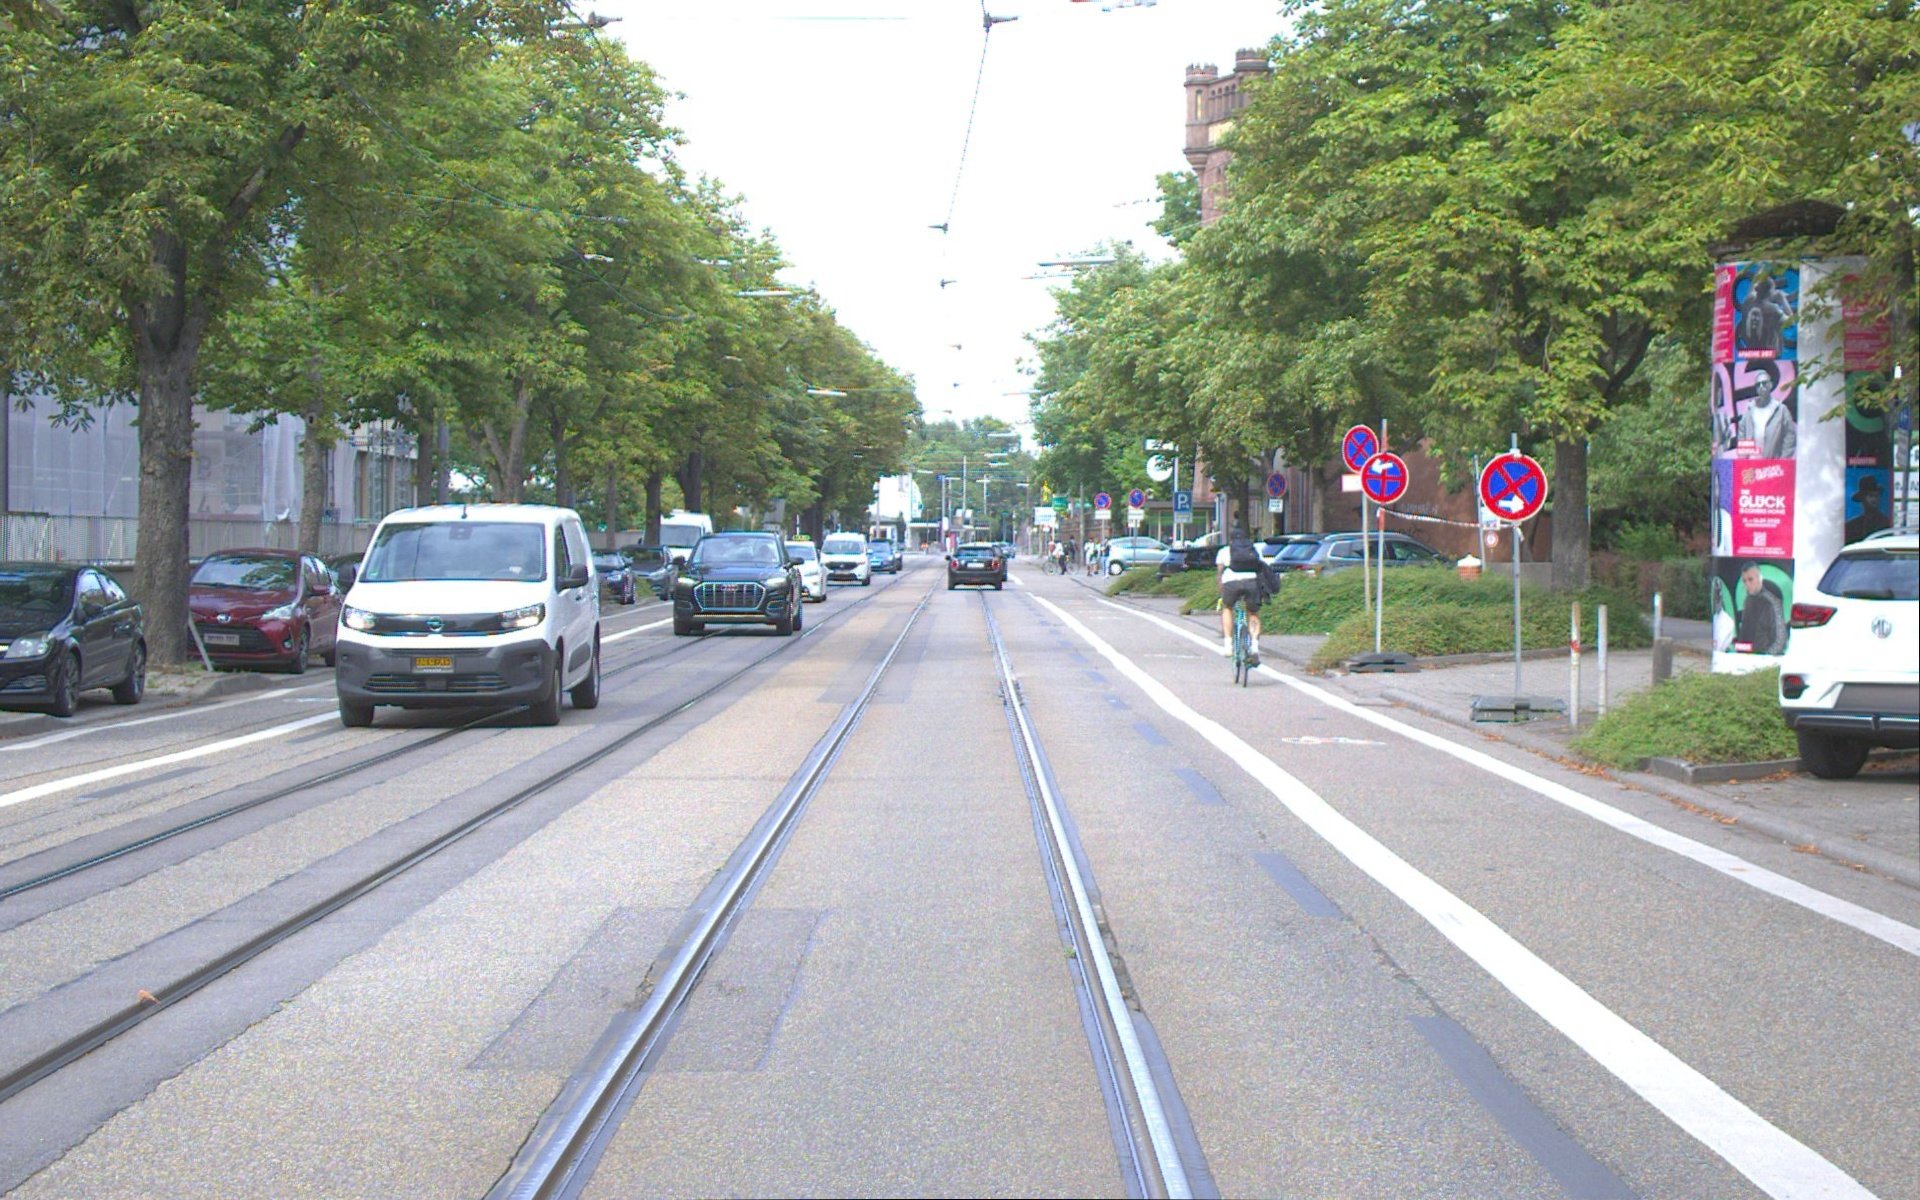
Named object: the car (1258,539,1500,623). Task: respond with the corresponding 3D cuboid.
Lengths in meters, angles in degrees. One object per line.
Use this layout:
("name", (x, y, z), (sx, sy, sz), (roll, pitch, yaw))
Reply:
("car", (7.403, -0.352, 61.038), (3.986, 1.420, 1.885), (1, 1, -3))

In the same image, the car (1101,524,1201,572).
("car", (8.054, -2.205, 145.143), (3.986, 1.904, 2.000), (1, 1, -2))

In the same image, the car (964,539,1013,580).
("car", (1.094, -1.556, 130.304), (1.793, 1.465, 4.000), (2, 1, 1))

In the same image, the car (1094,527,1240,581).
("car", (5.935, -1.329, 98.981), (3.986, 1.503, 1.885), (1, 1, -3))

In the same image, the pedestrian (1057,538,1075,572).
("pedestrian", (5.128, -2.190, 166.844), (0.726, 1.640, 0.766), (2, 1, 10))

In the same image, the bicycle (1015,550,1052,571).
("bicycle", (3.564, -1.914, 167.185), (1.721, 0.988, 0.658), (2, 1, 9))

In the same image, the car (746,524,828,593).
("car", (-4.204, -1.030, 84.129), (1.802, 1.616, 4.485), (-1, 1, -1))

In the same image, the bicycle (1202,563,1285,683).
("bicycle", (3.107, 0.234, 37.824), (0.657, 1.244, 2.125), (1, 1, -1))

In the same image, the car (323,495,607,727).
("car", (-4.146, 0.043, 29.418), (1.802, 1.817, 4.485), (-1, 1, -1))

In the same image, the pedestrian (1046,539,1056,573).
("pedestrian", (5.391, -2.638, 204.146), (0.518, 2.007, 0.480), (1, 1, 4))

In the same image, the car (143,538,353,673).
("car", (-8.818, 0.029, 42.884), (1.802, 1.578, 4.031), (-1, 1, -1))

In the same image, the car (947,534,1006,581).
("car", (0.504, -1.350, 108.708), (1.793, 1.418, 4.000), (1, 1, 0))

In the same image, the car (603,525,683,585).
("car", (-8.565, -1.228, 93.079), (1.802, 1.578, 4.031), (-1, 1, -1))

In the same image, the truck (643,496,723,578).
("truck", (-8.520, -1.951, 106.109), (2.071, 2.462, 4.899), (-1, 1, -1))

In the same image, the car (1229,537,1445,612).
("car", (7.422, -0.515, 67.938), (3.986, 1.420, 1.885), (1, 1, -3))

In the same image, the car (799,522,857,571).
("car", (-4.483, -1.820, 117.194), (1.802, 1.616, 4.485), (-1, 1, -1))

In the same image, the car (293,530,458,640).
("car", (-8.751, -0.253, 51.751), (1.802, 1.578, 4.031), (-1, 1, -1))

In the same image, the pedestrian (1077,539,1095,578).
("pedestrian", (5.401, -1.782, 147.069), (0.726, 1.640, 0.766), (1, 1, 2))

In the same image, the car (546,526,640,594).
("car", (-8.692, -0.964, 81.676), (1.802, 1.578, 4.031), (-1, 1, -1))

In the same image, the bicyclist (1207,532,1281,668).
("bicyclist", (3.111, -0.011, 37.789), (0.657, 1.458, 1.179), (1, 1, -1))

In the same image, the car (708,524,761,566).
("car", (-8.643, -2.108, 131.839), (1.802, 1.578, 4.031), (-1, 1, -1))

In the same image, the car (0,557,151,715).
("car", (-9.009, 0.299, 32.494), (1.802, 1.369, 4.031), (-1, 1, -1))

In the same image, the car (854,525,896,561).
("car", (-3.844, -2.594, 155.804), (1.802, 1.616, 4.485), (-1, 1, -1))

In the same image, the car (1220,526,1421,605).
("car", (7.666, -0.738, 73.338), (3.986, 1.622, 1.885), (1, 1, -3))

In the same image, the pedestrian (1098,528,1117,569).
("pedestrian", (5.923, -2.066, 137.812), (0.726, 1.640, 0.766), (1, 1, 2))

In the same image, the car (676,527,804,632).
("car", (-3.526, -0.364, 55.761), (1.802, 1.616, 4.485), (-1, 1, -1))

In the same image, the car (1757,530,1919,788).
("car", (6.936, 0.348, 22.431), (3.437, 1.567, 1.560), (0, 1, -38))
